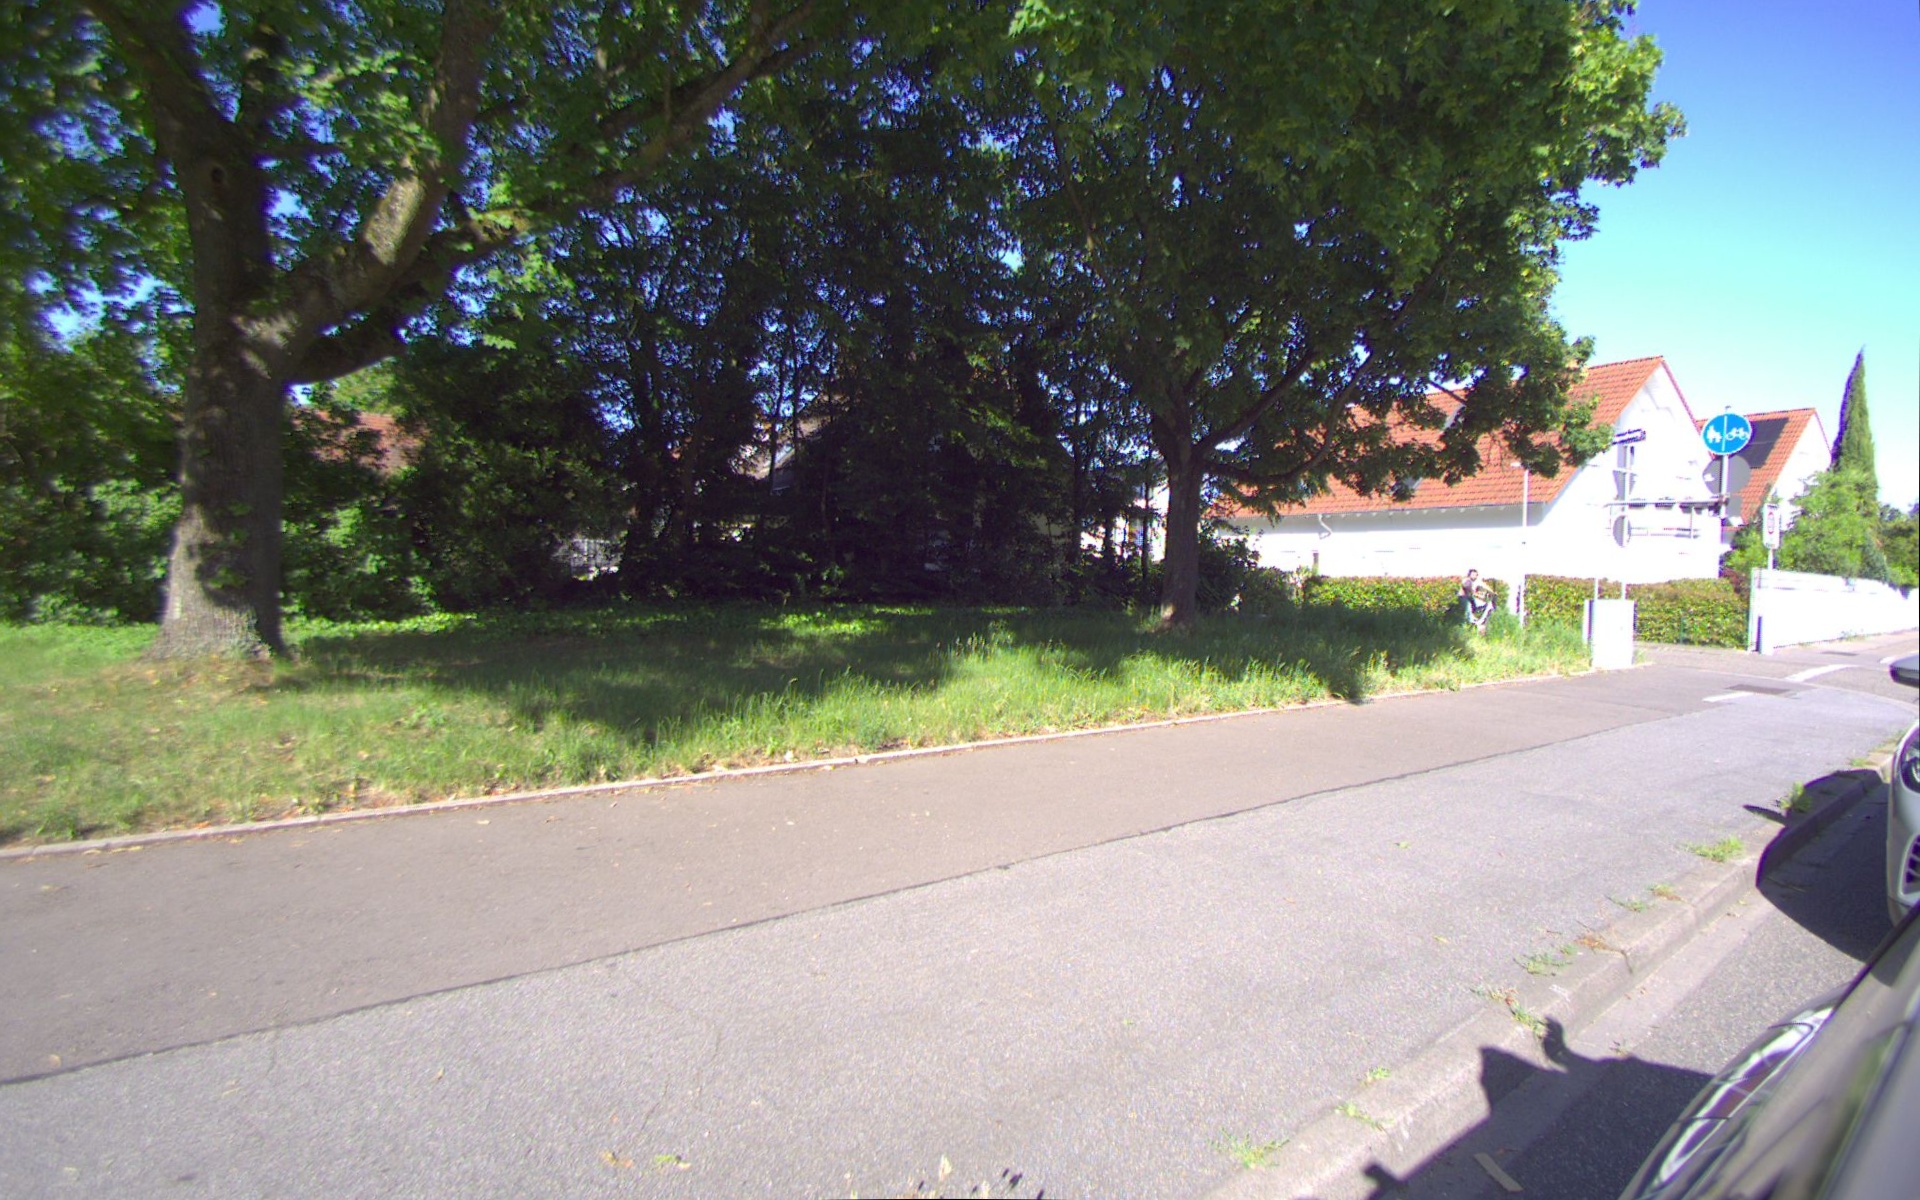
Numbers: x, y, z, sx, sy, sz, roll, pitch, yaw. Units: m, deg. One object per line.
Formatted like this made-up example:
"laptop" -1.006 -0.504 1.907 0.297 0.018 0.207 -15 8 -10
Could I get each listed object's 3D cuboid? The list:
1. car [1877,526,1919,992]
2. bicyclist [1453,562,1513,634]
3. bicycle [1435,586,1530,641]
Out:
"car" 5.624 0.604 4.431 4.133 1.710 1.857 0 3 -41
"bicyclist" 12.402 -0.059 24.019 0.568 1.600 1.000 2 4 -25
"bicycle" 12.381 0.299 24.040 0.568 1.110 1.993 2 4 -25
